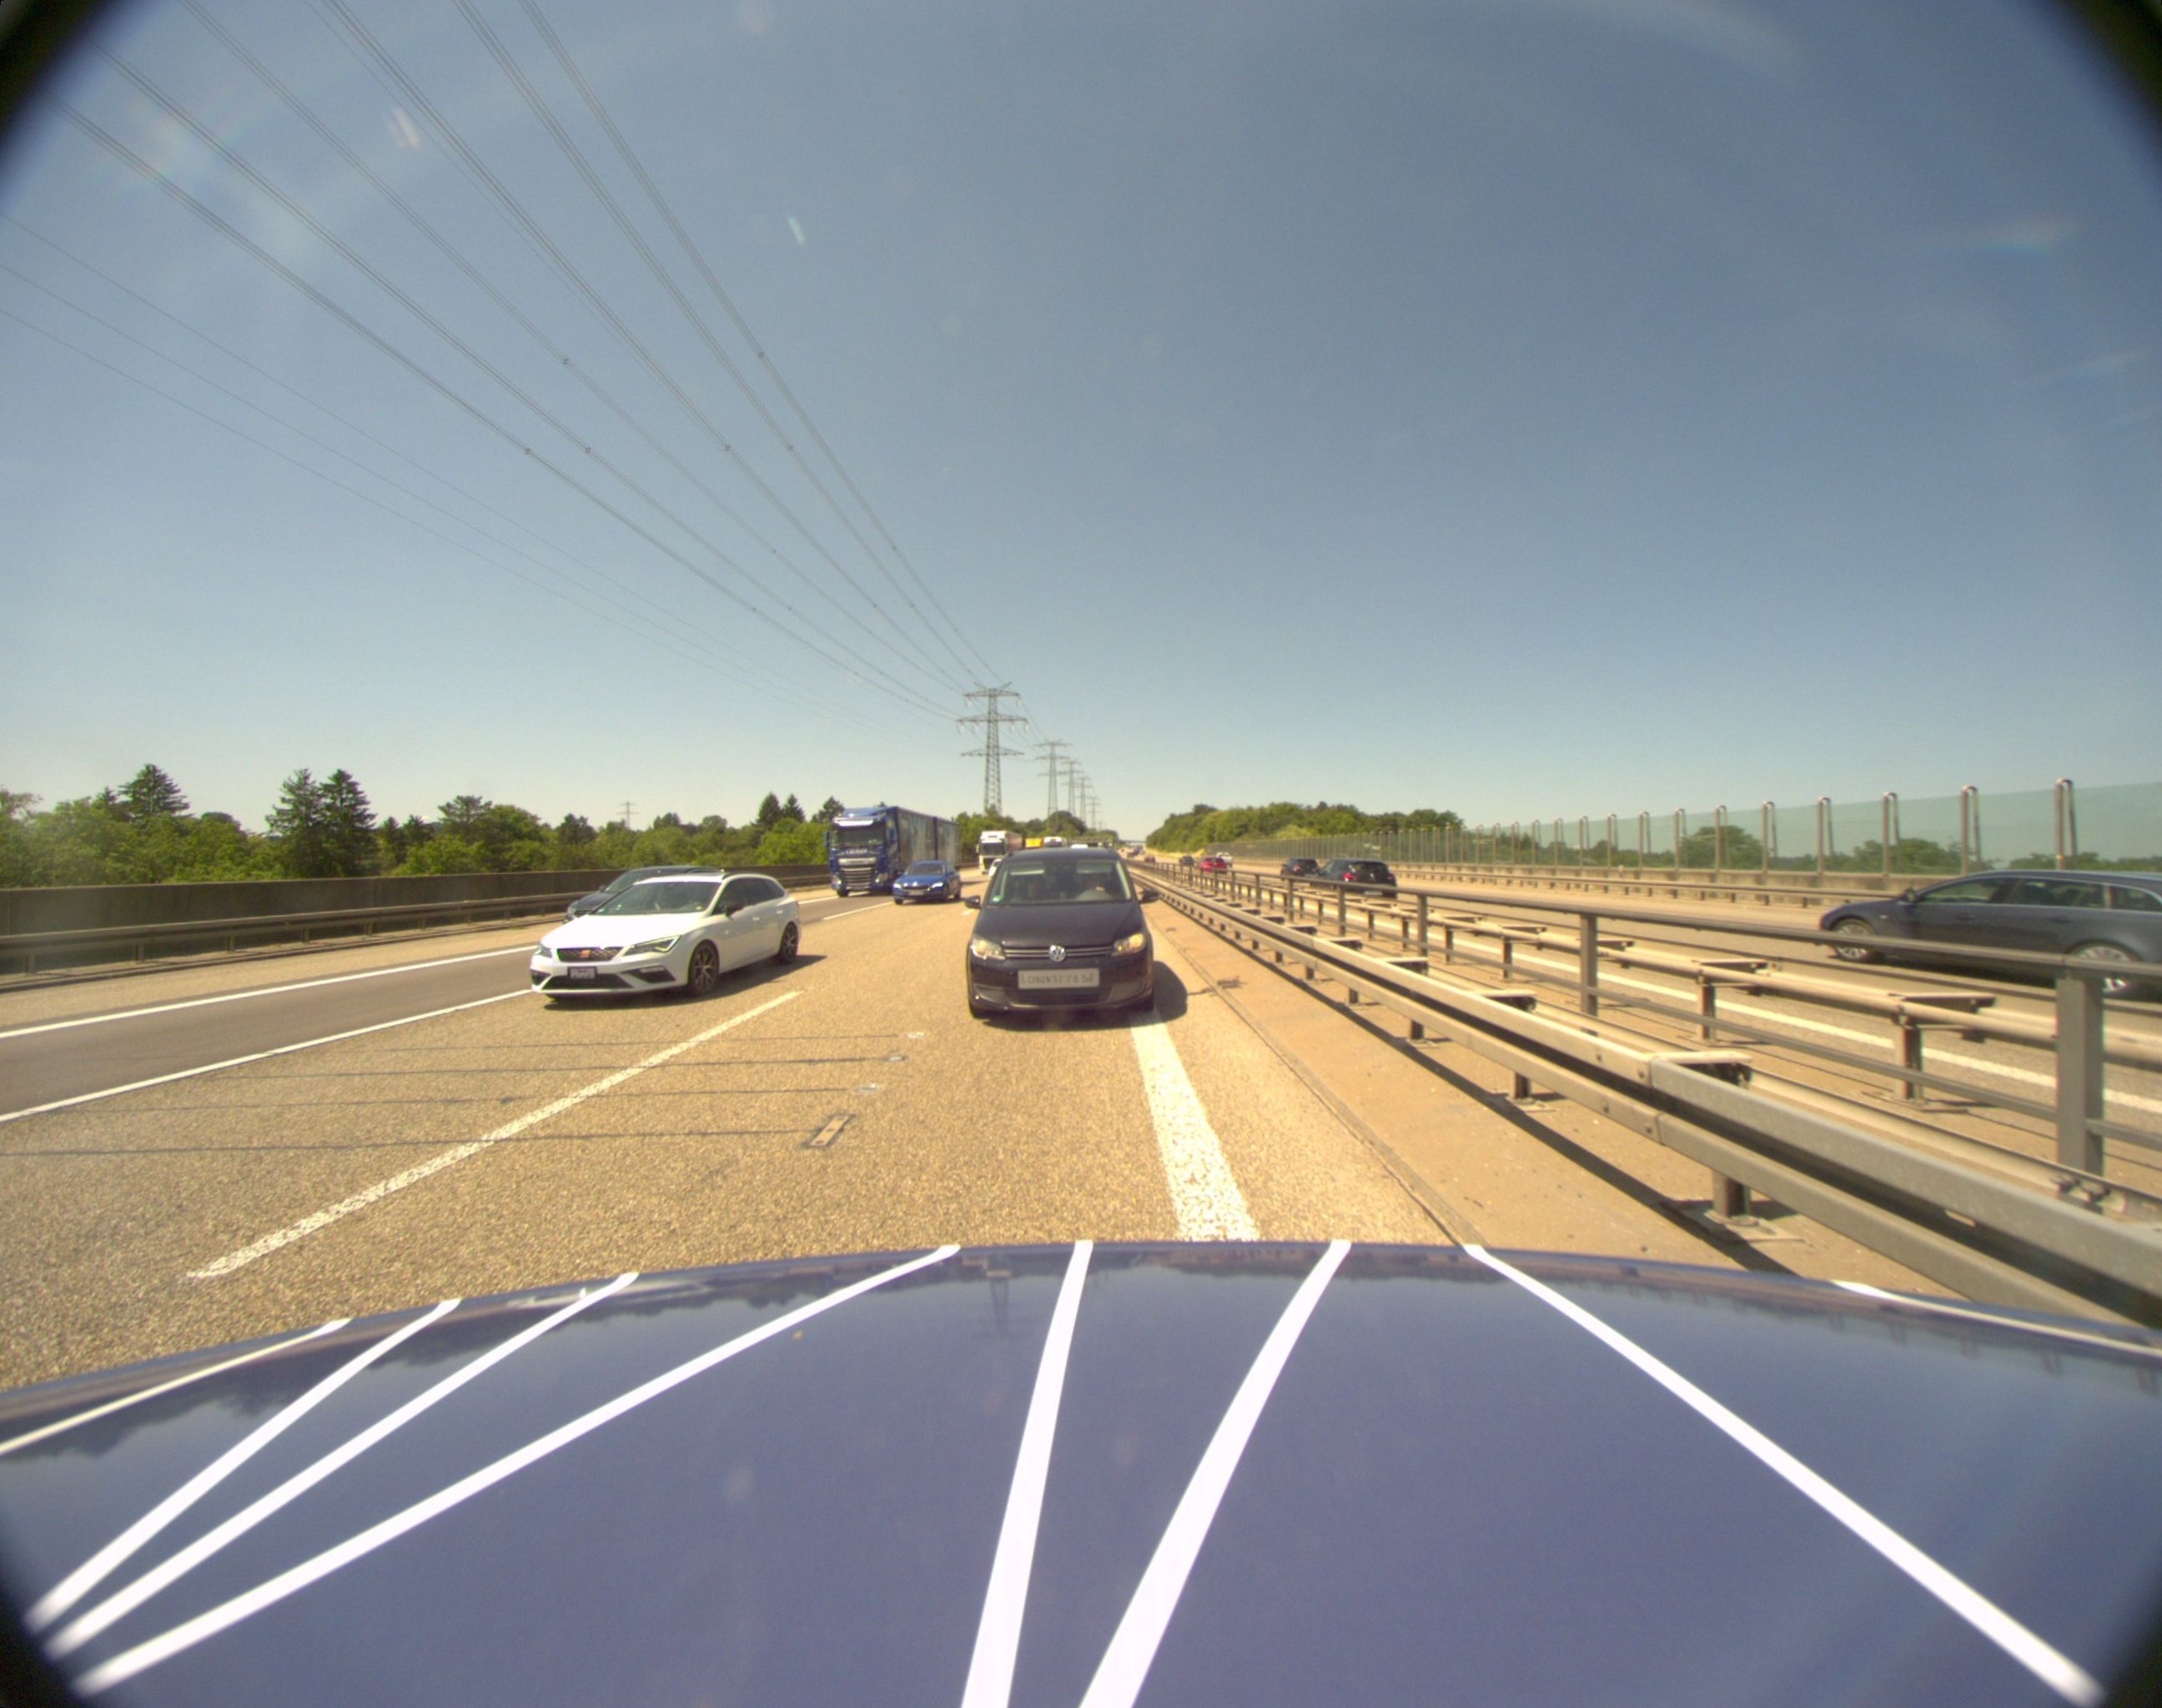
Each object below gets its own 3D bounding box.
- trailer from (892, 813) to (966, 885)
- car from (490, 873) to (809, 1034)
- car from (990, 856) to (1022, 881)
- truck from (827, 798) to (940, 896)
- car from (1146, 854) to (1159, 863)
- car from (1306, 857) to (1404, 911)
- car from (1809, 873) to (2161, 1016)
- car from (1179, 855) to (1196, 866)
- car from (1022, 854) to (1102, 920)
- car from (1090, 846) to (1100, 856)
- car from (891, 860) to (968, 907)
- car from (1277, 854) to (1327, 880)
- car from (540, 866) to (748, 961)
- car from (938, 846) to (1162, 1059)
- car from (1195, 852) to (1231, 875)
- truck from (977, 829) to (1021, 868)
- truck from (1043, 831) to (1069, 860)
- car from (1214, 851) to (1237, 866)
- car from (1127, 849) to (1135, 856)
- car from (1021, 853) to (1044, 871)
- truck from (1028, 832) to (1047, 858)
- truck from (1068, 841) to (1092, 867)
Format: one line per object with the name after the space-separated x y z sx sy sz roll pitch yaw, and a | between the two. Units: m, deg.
-9.103 -0.317 46.465 2.572 3.922 8.478 -2 1 1 | trailer
-5.235 1.089 9.981 1.843 1.481 4.071 -2 0 -1 | car
-4.765 0.889 48.665 1.763 1.495 4.093 -1 0 -2 | car
-9.212 -0.322 37.010 2.529 4.043 10.446 -2 1 1 | truck
11.141 0.721 118.905 1.601 1.310 4.341 1 0 0 | car
8.399 0.865 23.624 1.672 1.439 4.000 2 0 2 | car
12.285 1.014 9.554 1.780 1.399 4.682 1 0 1 | car
13.722 0.786 97.991 1.601 1.342 4.179 1 0 1 | car
-0.417 0.780 19.994 1.845 1.495 4.377 -1 0 1 | car
2.954 -0.693 163.756 1.998 2.002 4.000 -2 1 1 | car
-5.271 1.000 26.971 1.739 1.437 4.210 -1 0 2 | car
13.173 0.732 45.588 1.734 1.483 4.419 1 0 0 | car
-8.599 1.083 15.438 1.740 1.518 4.106 -2 0 1 | car
-0.235 0.775 8.110 1.740 1.652 3.999 -2 1 0 | car
8.906 0.643 51.575 1.795 1.469 3.989 2 0 1 | car
-8.039 -0.542 75.832 2.985 3.538 10.967 -2 1 1 | truck
-3.495 -1.213 107.596 2.980 3.832 10.561 -2 1 1 | truck
18.446 0.565 97.108 1.998 1.874 5.255 1 0 0 | car
13.147 -0.411 198.568 1.810 1.618 4.477 1 0 0 | car
-4.231 0.669 66.675 1.763 1.495 4.094 -1 0 0 | car
-6.891 -1.425 121.850 2.346 4.058 8.278 -2 1 1 | truck
-0.039 -0.006 78.224 2.284 2.479 5.861 -2 1 1 | truck
